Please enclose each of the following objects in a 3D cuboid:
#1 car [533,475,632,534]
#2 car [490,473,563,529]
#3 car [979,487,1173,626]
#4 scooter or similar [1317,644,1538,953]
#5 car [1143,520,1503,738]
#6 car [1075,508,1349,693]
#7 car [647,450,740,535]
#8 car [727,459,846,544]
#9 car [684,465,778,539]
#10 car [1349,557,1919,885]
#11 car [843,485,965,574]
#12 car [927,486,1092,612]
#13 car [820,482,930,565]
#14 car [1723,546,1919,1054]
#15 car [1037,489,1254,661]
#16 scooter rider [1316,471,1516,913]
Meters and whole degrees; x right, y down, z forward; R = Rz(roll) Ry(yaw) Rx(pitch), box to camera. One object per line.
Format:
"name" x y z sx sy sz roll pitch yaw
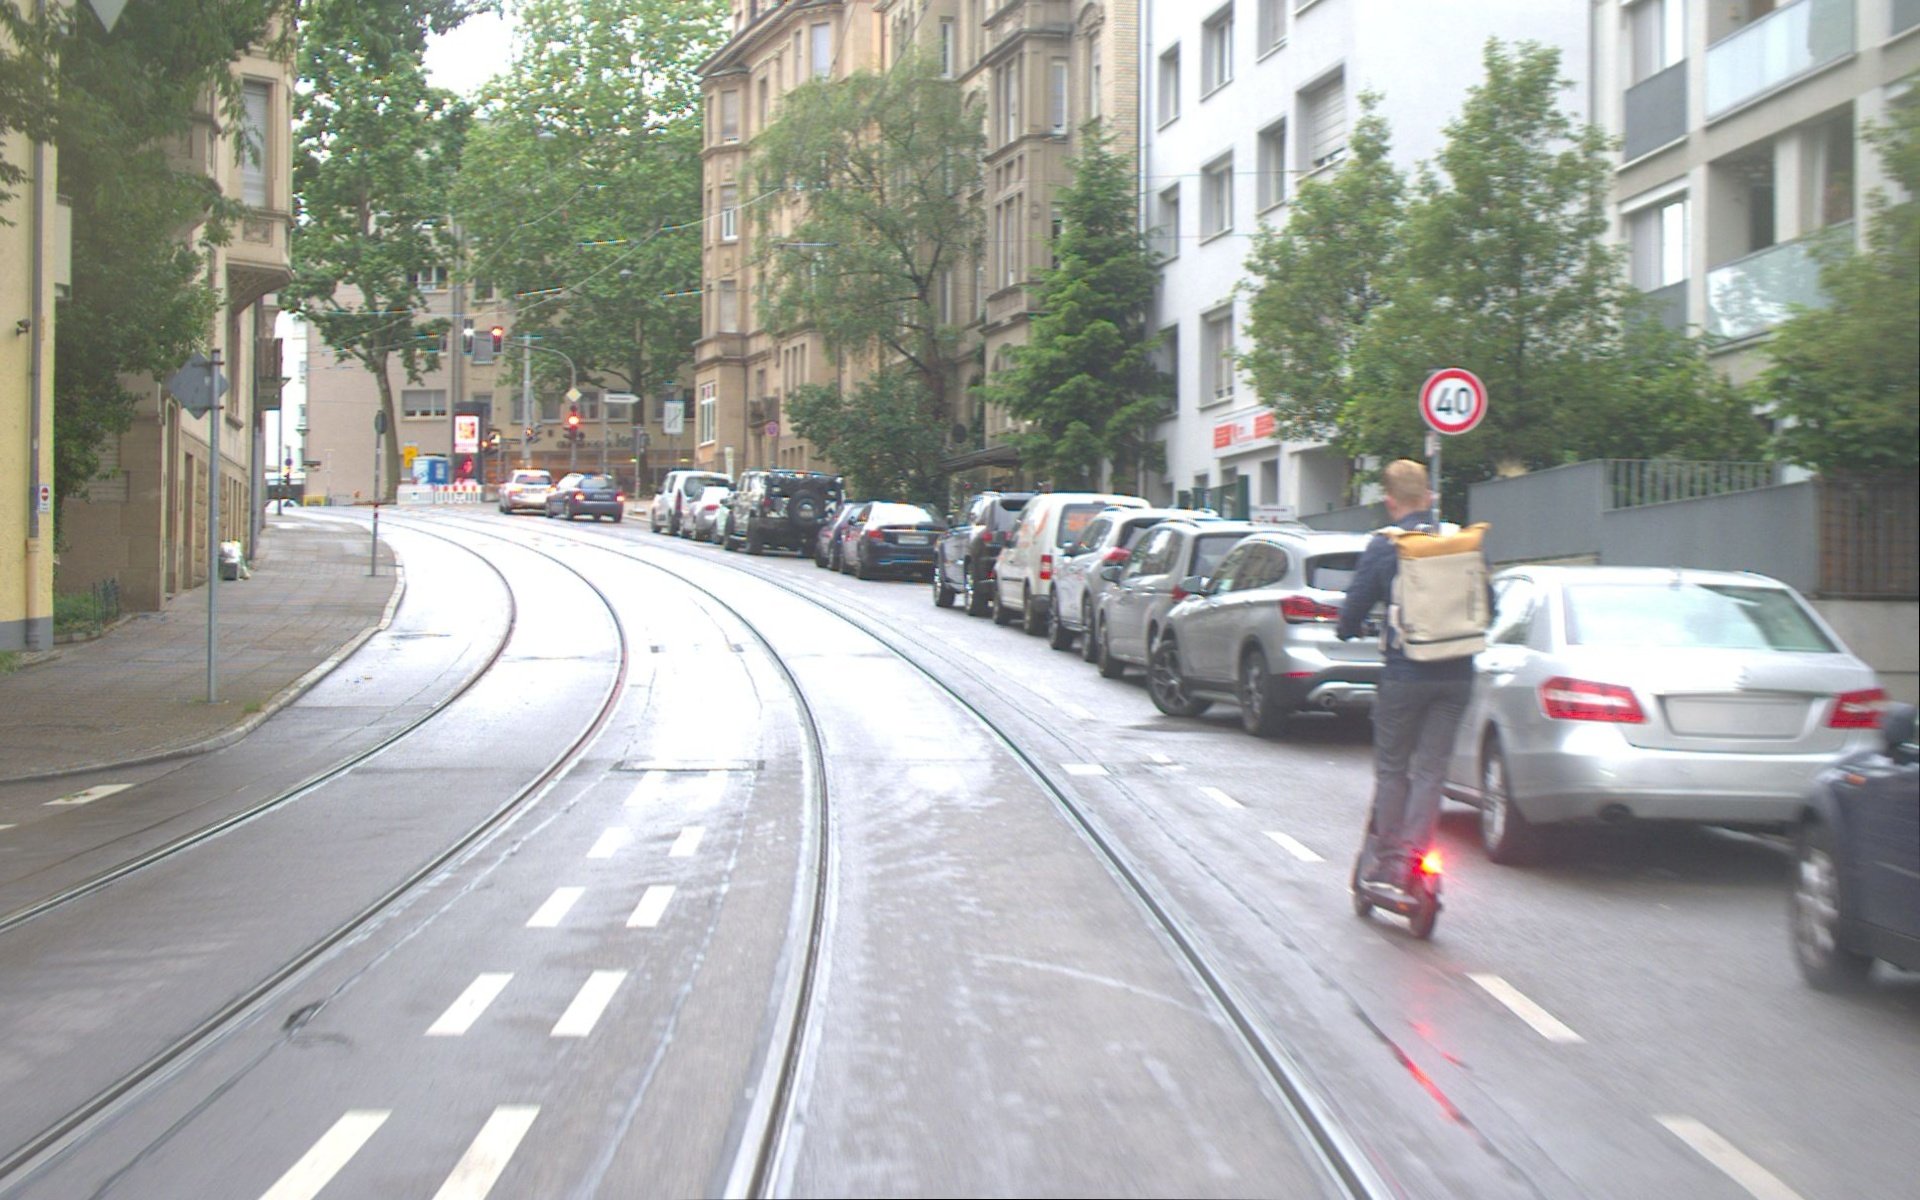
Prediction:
"car" -11.881 -3.014 108.027 2.027 1.728 4.141 1 2 -22
"car" -14.380 -3.283 113.838 1.856 1.728 4.141 1 2 -14
"car" 1.479 -0.618 45.427 1.766 1.678 4.250 2 2 -9
"scooter or similar" 1.836 0.749 13.746 0.513 1.046 2.009 1 2 -2
"car" 2.829 0.163 27.779 1.766 1.609 4.249 0 1 -10
"car" 2.388 -0.048 33.688 1.766 1.609 4.249 2 2 -8
"car" -7.333 -2.952 94.184 2.027 2.210 4.141 2 2 -11
"car" -3.975 -2.252 77.987 2.027 1.818 4.369 2 2 -11
"car" -5.971 -2.554 89.168 2.027 1.818 4.141 2 2 -9
"car" 3.342 0.520 18.010 1.762 1.430 4.640 0 1 -4
"car" -1.082 -1.333 63.815 1.766 1.512 4.141 2 2 -7
"car" 0.677 -0.777 50.078 1.766 1.678 4.249 2 2 -7
"car" -1.725 -1.558 68.880 1.649 1.530 3.890 -2 3 -9
"car" 3.788 0.645 10.961 1.701 1.507 3.715 2 2 -2
"car" 2.052 -0.334 39.250 1.766 1.781 4.249 2 2 -6
"scooter rider" 1.801 0.341 13.667 0.623 1.699 0.844 1 2 -2
